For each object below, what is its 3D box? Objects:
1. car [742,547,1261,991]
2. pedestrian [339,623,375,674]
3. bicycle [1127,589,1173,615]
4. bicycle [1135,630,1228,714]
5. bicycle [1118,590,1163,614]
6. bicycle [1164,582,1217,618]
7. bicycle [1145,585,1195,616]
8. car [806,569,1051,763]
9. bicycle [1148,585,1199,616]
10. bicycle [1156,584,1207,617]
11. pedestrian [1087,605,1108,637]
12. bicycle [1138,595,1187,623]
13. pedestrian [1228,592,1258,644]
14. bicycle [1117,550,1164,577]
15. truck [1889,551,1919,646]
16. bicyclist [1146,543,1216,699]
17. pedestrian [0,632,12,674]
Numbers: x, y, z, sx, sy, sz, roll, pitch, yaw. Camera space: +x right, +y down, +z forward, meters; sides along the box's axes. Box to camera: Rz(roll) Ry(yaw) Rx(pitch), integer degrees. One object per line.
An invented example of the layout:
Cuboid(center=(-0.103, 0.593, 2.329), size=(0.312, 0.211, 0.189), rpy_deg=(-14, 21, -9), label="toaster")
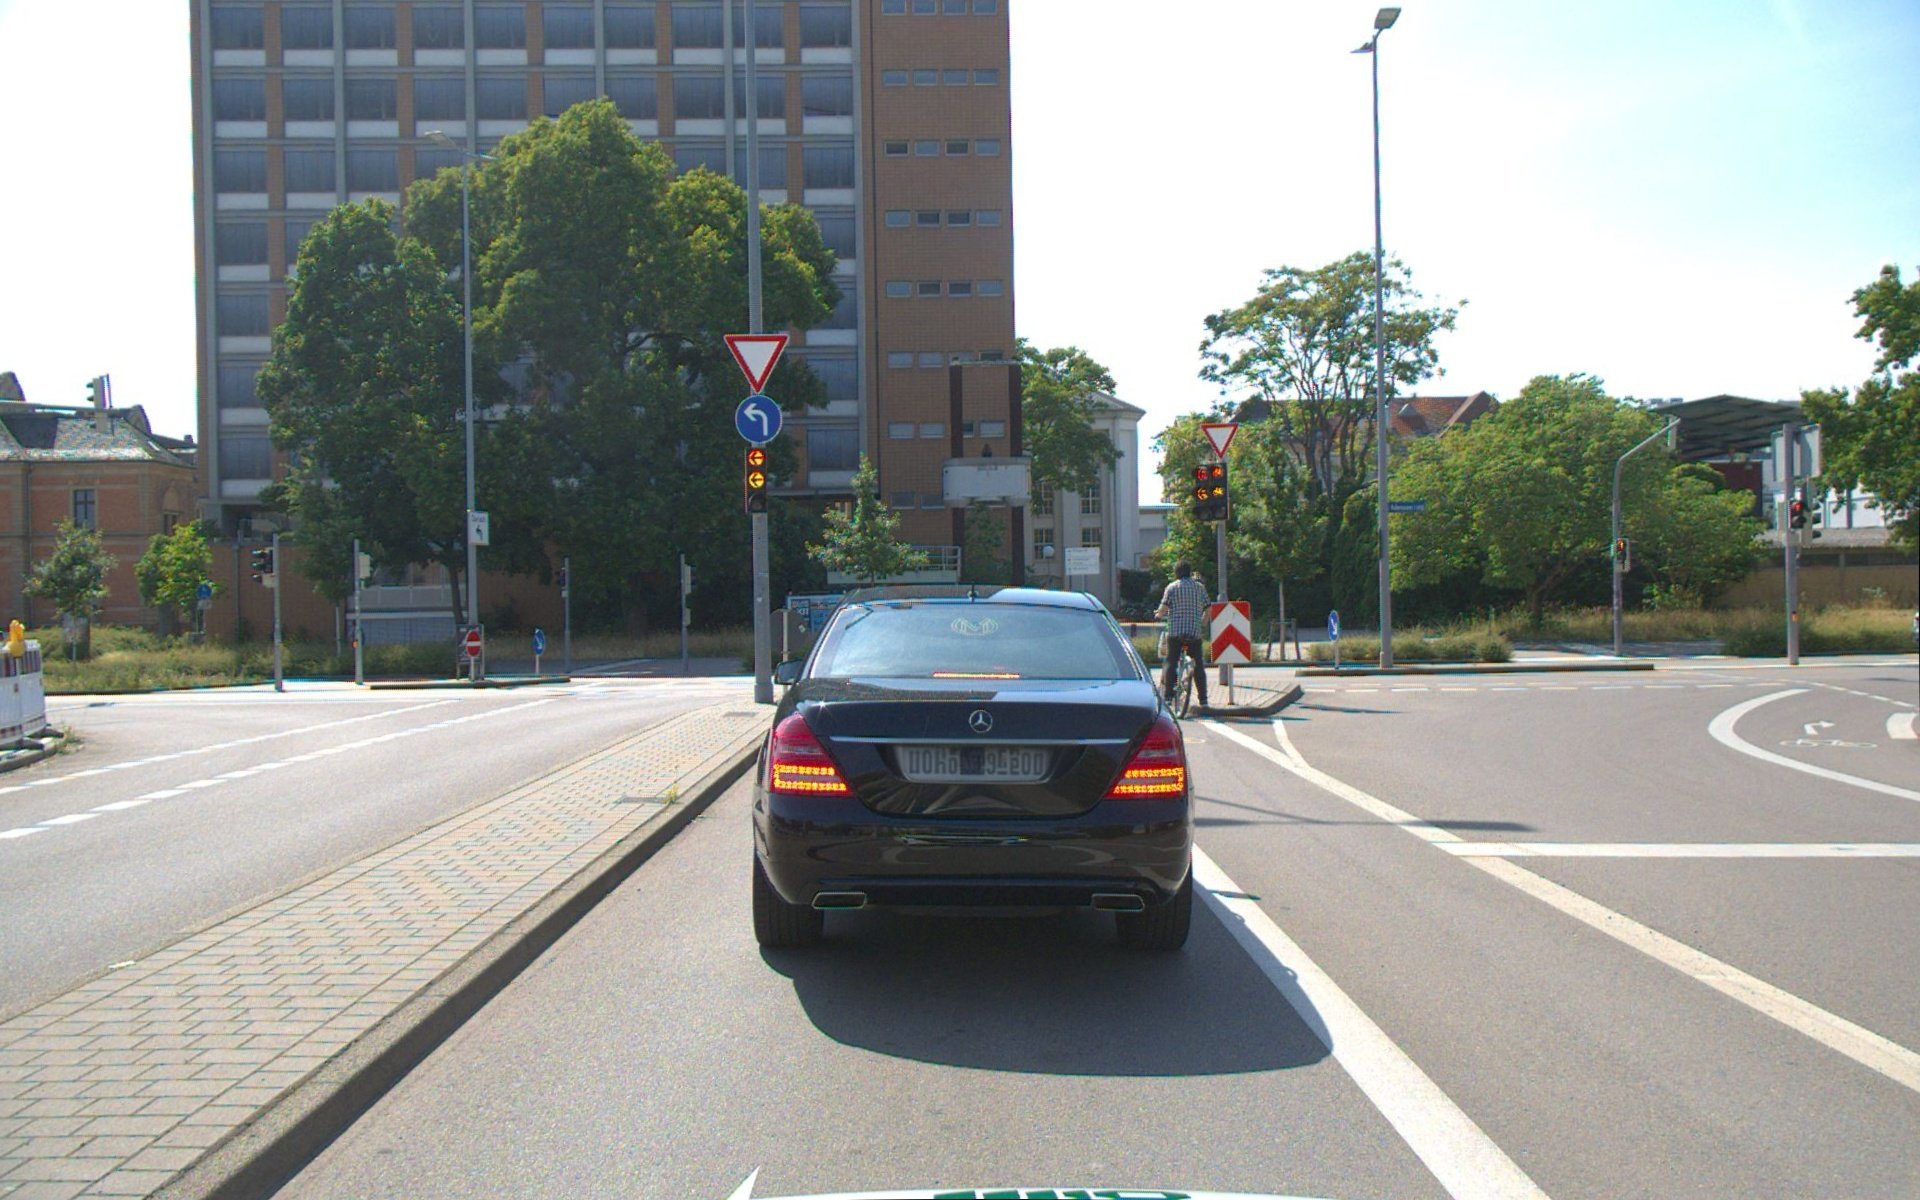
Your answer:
Cuboid(center=(0.075, 0.611, 8.193), size=(1.821, 1.557, 4.711), rpy_deg=(1, 0, -2), label="car")
Cuboid(center=(-21.197, 1.688, 58.156), size=(0.781, 1.756, 0.873), rpy_deg=(-2, -1, 22), label="pedestrian")
Cuboid(center=(12.013, 0.129, 104.724), size=(2.766, 1.526, 0.841), rpy_deg=(-2, 0, -2), label="bicycle")
Cuboid(center=(2.741, 0.879, 20.653), size=(0.679, 0.963, 1.955), rpy_deg=(1, 0, -7), label="bicycle")
Cuboid(center=(11.600, 0.127, 106.277), size=(2.765, 1.506, 0.841), rpy_deg=(-2, 0, 0), label="bicycle")
Cuboid(center=(12.757, 0.000, 91.714), size=(2.766, 1.868, 0.841), rpy_deg=(-2, 0, -2), label="bicycle")
Cuboid(center=(12.236, 0.010, 96.509), size=(2.766, 1.688, 0.841), rpy_deg=(-2, 1, -2), label="bicycle")
Cuboid(center=(-0.282, 0.542, 15.347), size=(1.953, 1.534, 3.999), rpy_deg=(1, 0, -1), label="car")
Cuboid(center=(12.304, 0.014, 95.444), size=(2.766, 1.678, 0.841), rpy_deg=(-2, 0, -2), label="bicycle")
Cuboid(center=(12.590, 0.013, 93.970), size=(2.766, 1.775, 0.841), rpy_deg=(-2, 0, -2), label="bicycle")
Cuboid(center=(5.313, 0.813, 63.850), size=(0.776, 1.235, 0.758), rpy_deg=(1, 0, 6), label="pedestrian")
Cuboid(center=(12.043, 0.517, 98.576), size=(2.766, 1.564, 0.841), rpy_deg=(-2, 0, -2), label="bicycle")
Cuboid(center=(8.946, 0.567, 52.294), size=(0.794, 1.607, 0.692), rpy_deg=(-1, -1, 1), label="pedestrian")
Cuboid(center=(11.199, -2.273, 102.568), size=(2.766, 1.586, 0.841), rpy_deg=(-2, 0, -2), label="bicycle")
Cuboid(center=(27.739, -0.135, 42.035), size=(6.881, 2.397, 2.413), rpy_deg=(-2, 0, 0), label="truck")
Cuboid(center=(2.747, 0.258, 20.627), size=(0.673, 1.911, 0.858), rpy_deg=(0, 0, -7), label="bicyclist")
Cuboid(center=(-38.547, 2.123, 66.299), size=(0.635, 1.690, 0.649), rpy_deg=(1, -1, 25), label="pedestrian")
